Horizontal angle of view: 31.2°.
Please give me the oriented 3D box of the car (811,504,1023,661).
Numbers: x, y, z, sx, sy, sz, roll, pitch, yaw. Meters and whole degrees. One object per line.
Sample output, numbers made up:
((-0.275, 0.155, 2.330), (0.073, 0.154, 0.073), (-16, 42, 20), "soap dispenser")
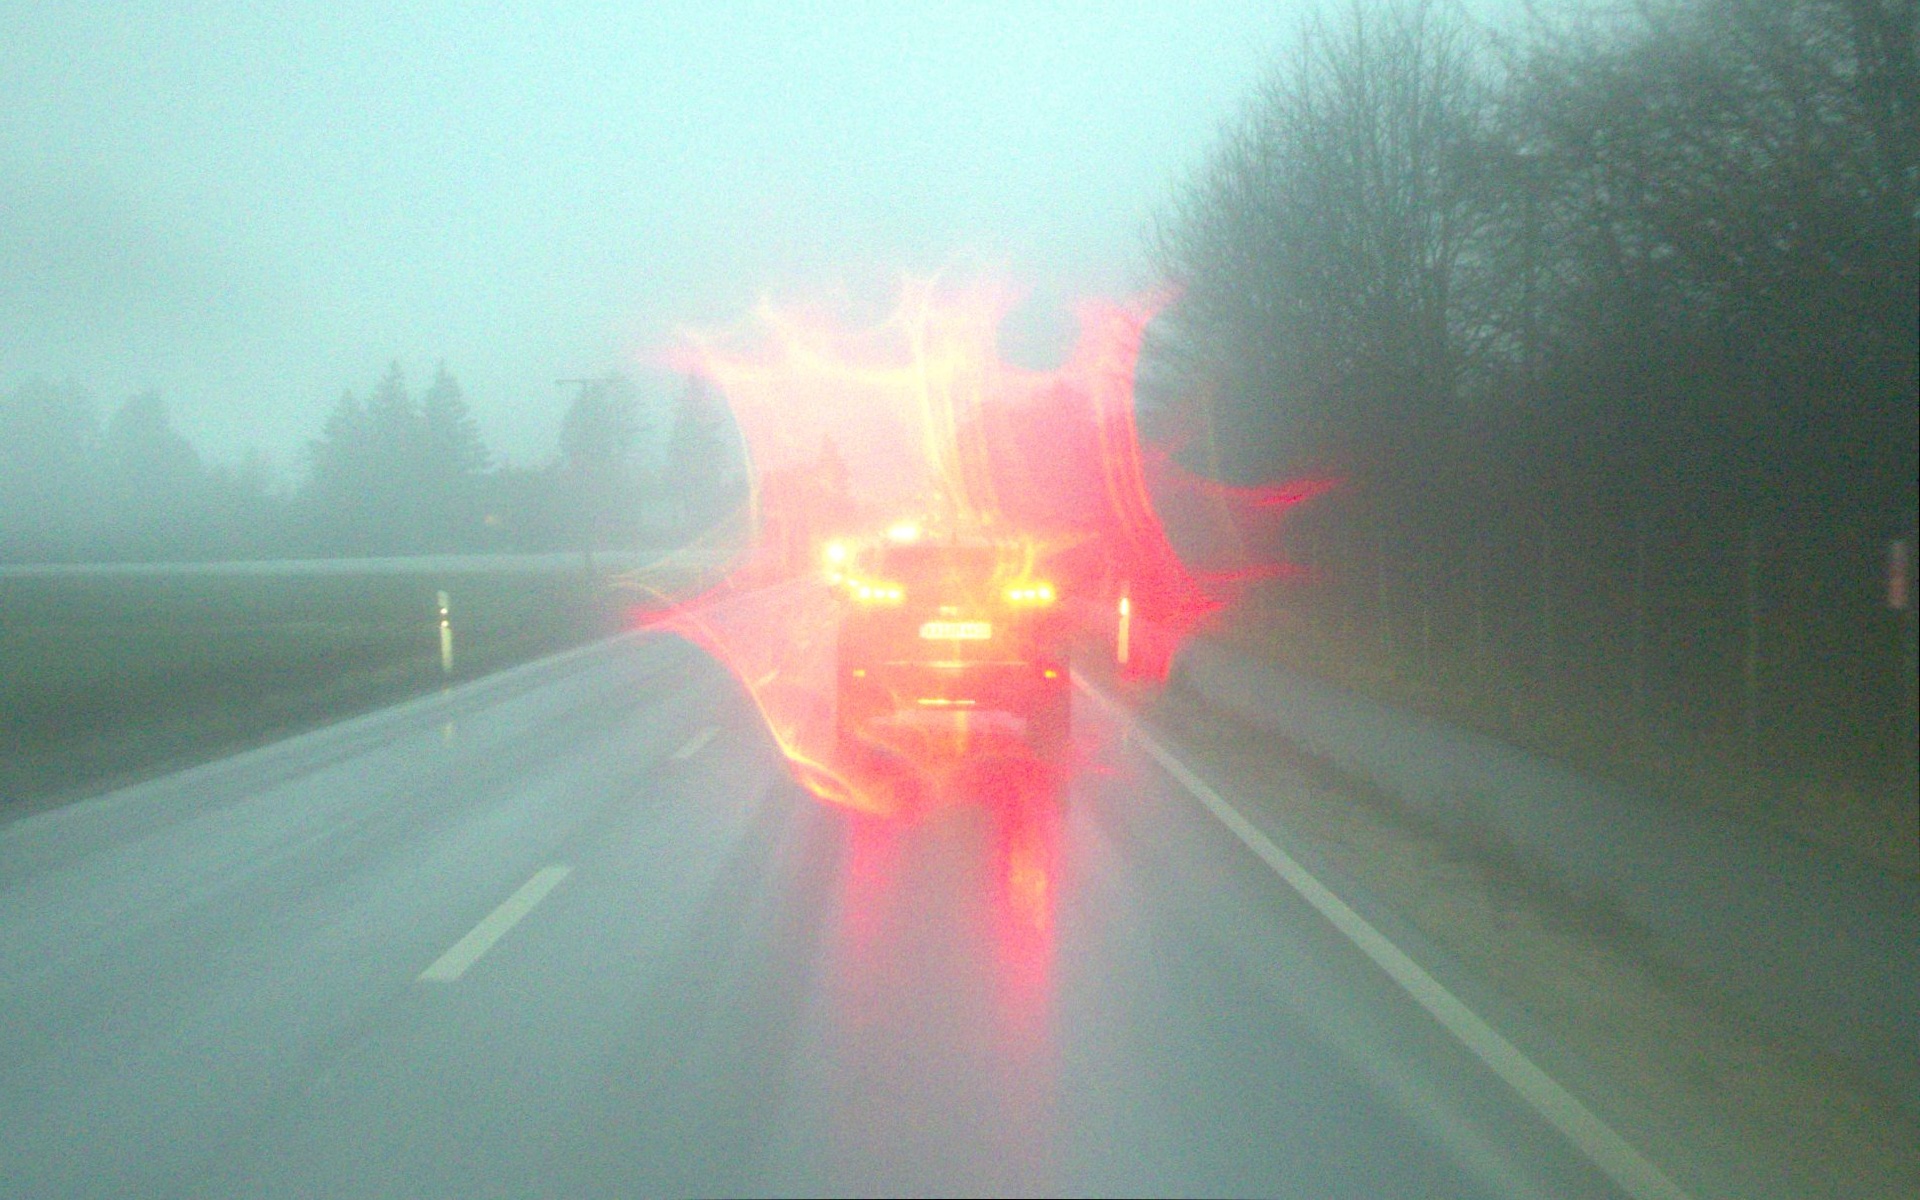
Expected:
((-0.566, -0.302, 48.199), (2.756, 2.028, 6.591), (0, 1, 0), "car")

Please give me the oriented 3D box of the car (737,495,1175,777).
((-0.035, 0.180, 28.363), (3.164, 2.028, 6.852), (0, 1, 0), "car")
